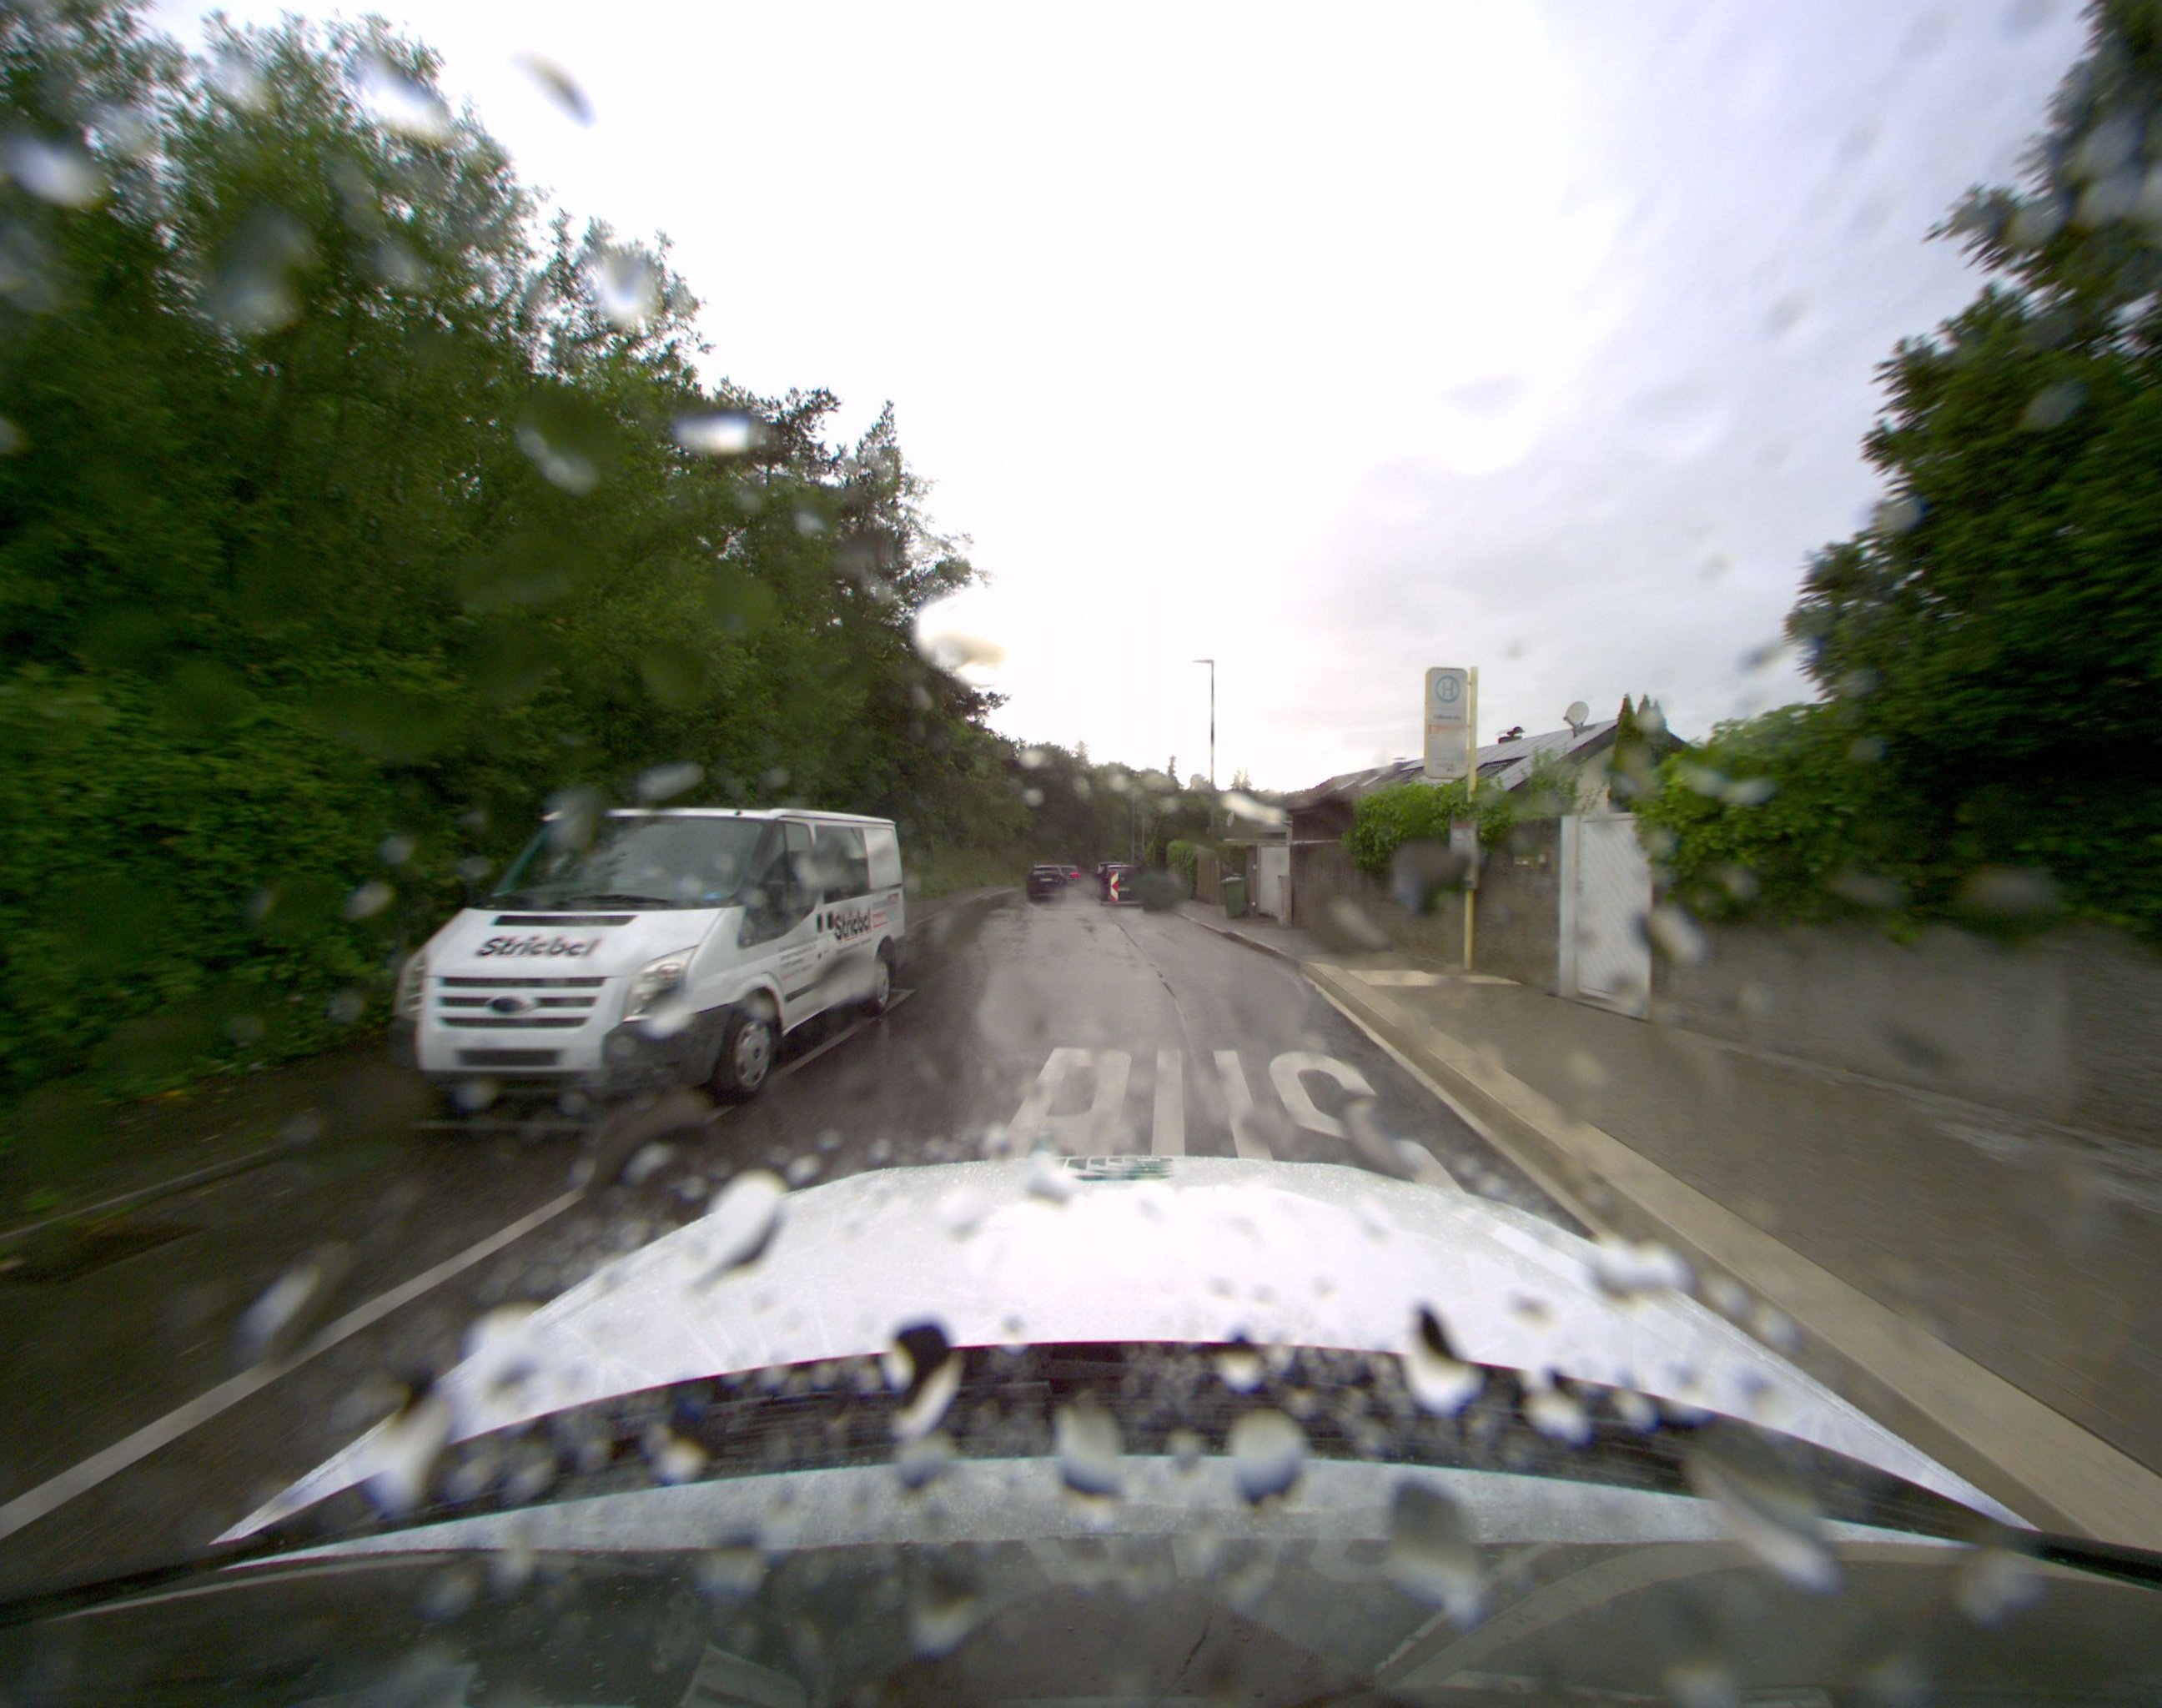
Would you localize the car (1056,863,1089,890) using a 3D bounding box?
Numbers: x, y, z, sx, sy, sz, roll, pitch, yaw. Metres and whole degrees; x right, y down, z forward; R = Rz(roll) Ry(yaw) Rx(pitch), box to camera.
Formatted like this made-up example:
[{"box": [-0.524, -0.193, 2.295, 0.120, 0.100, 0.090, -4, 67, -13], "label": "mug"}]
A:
[{"box": [-0.547, 1.434, 52.209, 1.987, 1.605, 4.408, 1, 0, 0], "label": "car"}]

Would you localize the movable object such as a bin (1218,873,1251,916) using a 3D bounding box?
[{"box": [4.112, 1.071, 21.851, 0.736, 1.088, 0.600, -2, 0, 1], "label": "movable object such as a bin"}]

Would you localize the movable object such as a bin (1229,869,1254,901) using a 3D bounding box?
[{"box": [5.789, 1.114, 29.395, 0.742, 1.104, 0.823, 2, -1, 17], "label": "movable object such as a bin"}]

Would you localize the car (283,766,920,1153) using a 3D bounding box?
[{"box": [-2.983, 0.550, 6.775, 2.103, 1.974, 5.175, 0, 0, 2], "label": "car"}]

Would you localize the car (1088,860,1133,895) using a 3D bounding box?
[{"box": [1.363, 1.067, 39.317, 1.870, 1.592, 4.476, 0, 0, -2], "label": "car"}]

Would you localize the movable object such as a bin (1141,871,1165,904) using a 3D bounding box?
[{"box": [2.426, 1.135, 27.563, 0.727, 1.078, 0.660, 1, 0, -4], "label": "movable object such as a bin"}]

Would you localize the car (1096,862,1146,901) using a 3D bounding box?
[{"box": [1.607, 1.102, 34.107, 1.751, 1.462, 4.298, 1, 0, -2], "label": "car"}]

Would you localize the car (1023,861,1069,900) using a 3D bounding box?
[{"box": [-1.519, 1.227, 36.351, 1.863, 1.513, 4.089, 2, -4, -1], "label": "car"}]

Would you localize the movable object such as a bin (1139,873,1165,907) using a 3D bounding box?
[{"box": [2.292, 1.164, 26.410, 0.714, 1.095, 0.655, 1, 0, -6], "label": "movable object such as a bin"}]
